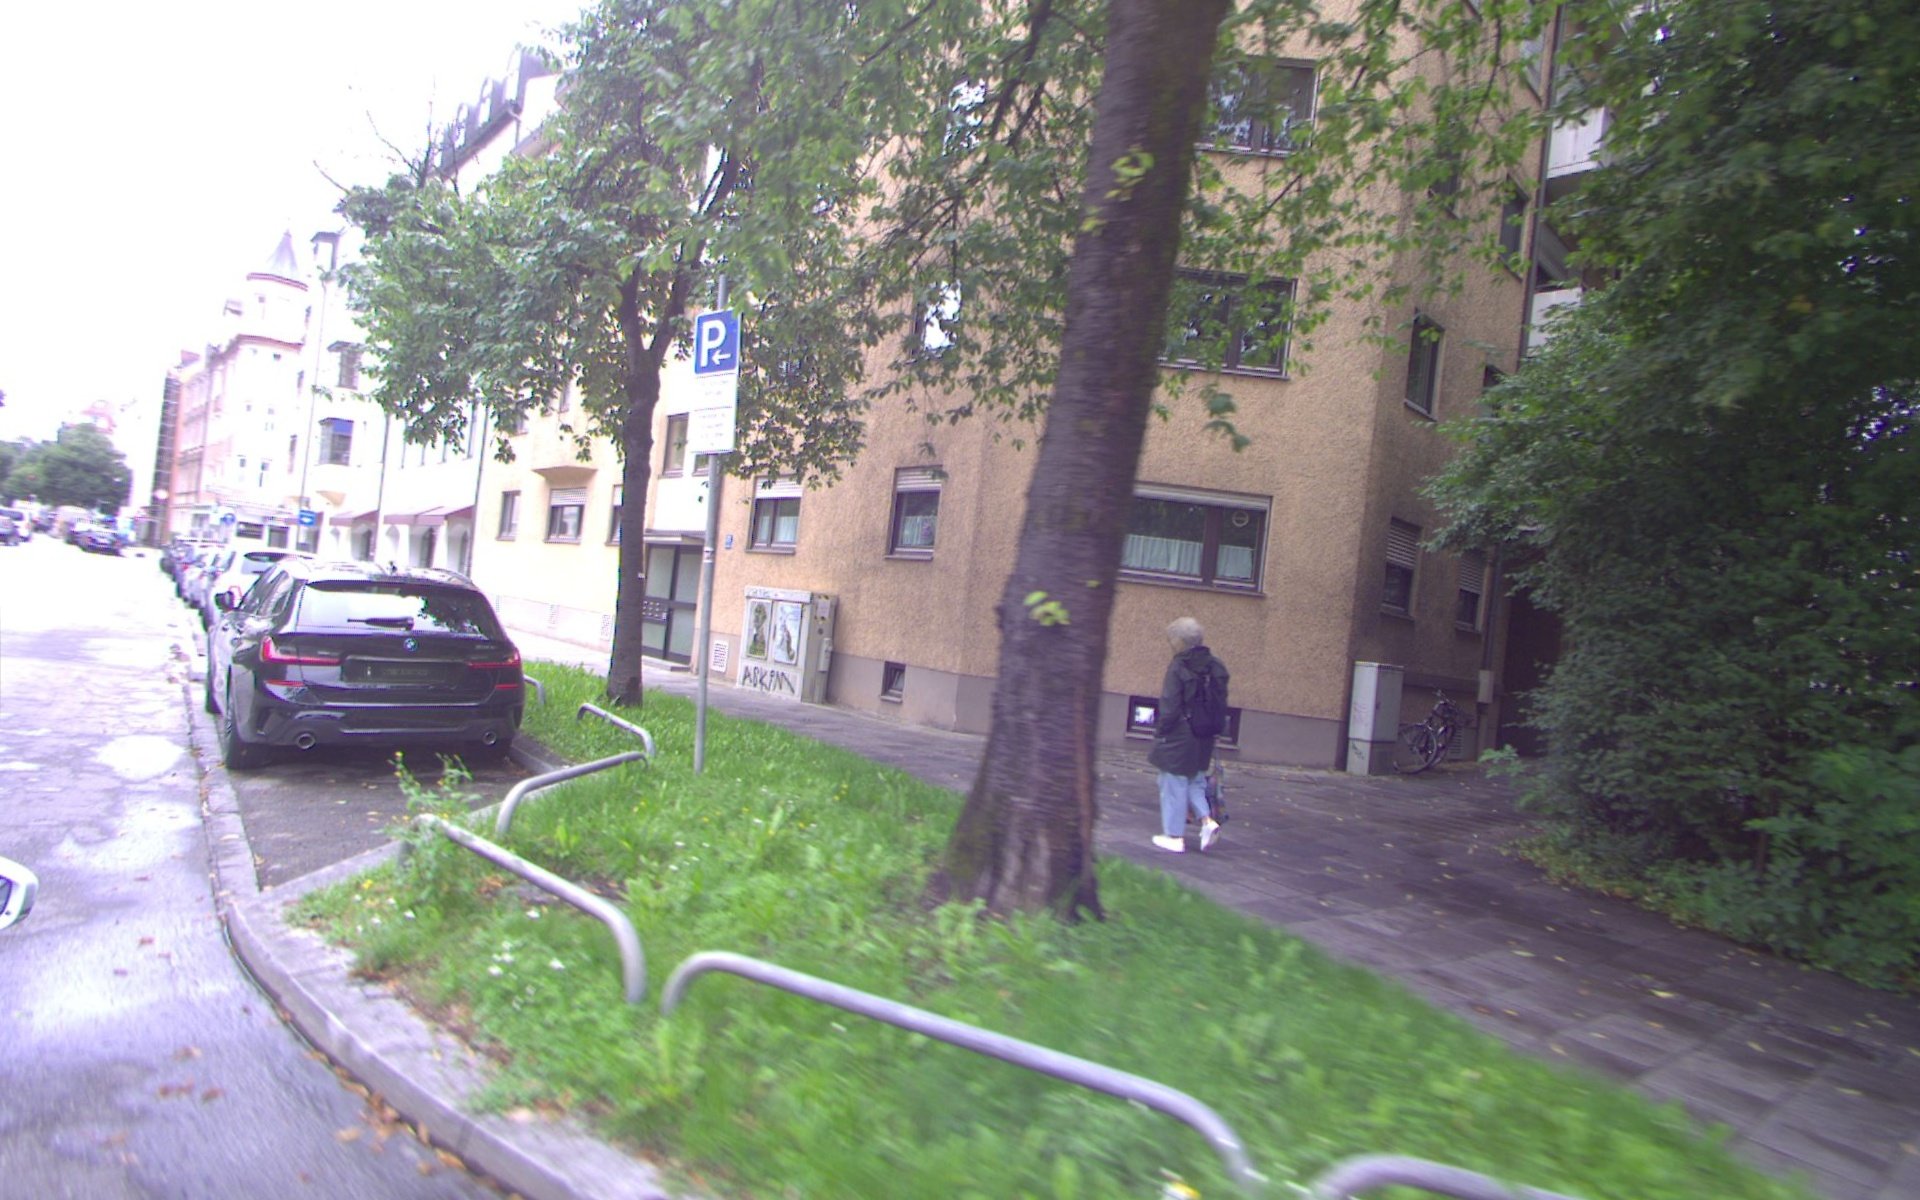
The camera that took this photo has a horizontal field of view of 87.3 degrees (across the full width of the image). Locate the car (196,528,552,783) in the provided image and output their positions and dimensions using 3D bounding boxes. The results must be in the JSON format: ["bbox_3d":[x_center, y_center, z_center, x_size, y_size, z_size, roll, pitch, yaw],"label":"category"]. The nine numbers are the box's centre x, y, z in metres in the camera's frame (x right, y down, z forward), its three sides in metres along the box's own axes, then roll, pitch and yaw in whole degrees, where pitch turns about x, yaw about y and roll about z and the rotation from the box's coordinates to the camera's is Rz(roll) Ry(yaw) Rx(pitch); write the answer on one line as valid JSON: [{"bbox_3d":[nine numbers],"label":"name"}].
[{"bbox_3d":[-4.979,0.280,8.209,1.782,1.516,4.329,4,1,-40],"label":"car"}]

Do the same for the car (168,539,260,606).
[{"bbox_3d":[-20.245,-0.785,27.229,1.748,1.515,4.440,6,-1,-39],"label":"car"}]

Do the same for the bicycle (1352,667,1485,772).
[{"bbox_3d":[6.205,1.600,13.529,2.416,1.232,0.695,7,-1,-44],"label":"bicycle"}]

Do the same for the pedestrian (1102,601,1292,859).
[{"bbox_3d":[1.659,0.877,7.109,0.667,1.643,0.970,7,-2,-38],"label":"pedestrian"}]

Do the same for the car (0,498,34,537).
[{"bbox_3d":[-57.773,-5.083,61.134,1.984,2.100,4.090,7,-1,-43],"label":"car"}]

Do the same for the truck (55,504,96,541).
[{"bbox_3d":[-83.704,-7.340,95.180,2.485,3.008,5.263,8,-2,-44],"label":"truck"}]

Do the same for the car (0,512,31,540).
[{"bbox_3d":[-78.114,-6.099,82.998,1.988,2.038,3.951,7,-1,-44],"label":"car"}]

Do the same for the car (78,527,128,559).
[{"bbox_3d":[-51.270,-3.408,60.150,1.842,1.444,4.131,12,-4,-44],"label":"car"}]

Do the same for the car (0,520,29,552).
[{"bbox_3d":[-49.721,-3.398,52.170,1.984,1.446,4.090,8,-1,-43],"label":"car"}]

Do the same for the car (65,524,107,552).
[{"bbox_3d":[-61.444,-4.377,70.729,1.842,1.444,4.252,12,-4,-44],"label":"car"}]

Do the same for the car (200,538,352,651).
[{"bbox_3d":[-11.025,-0.144,16.110,1.620,1.515,3.780,5,-1,-39],"label":"car"}]

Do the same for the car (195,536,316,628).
[{"bbox_3d":[-13.930,-0.394,19.818,1.620,1.515,3.747,5,-1,-39],"label":"car"}]

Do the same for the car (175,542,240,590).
[{"bbox_3d":[-27.719,-1.279,37.106,1.746,1.515,3.786,5,-1,-36],"label":"car"}]

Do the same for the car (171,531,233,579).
[{"bbox_3d":[-30.924,-1.845,40.976,1.748,1.700,4.656,5,-1,-39],"label":"car"}]

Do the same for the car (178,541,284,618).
[{"bbox_3d":[-17.074,-0.528,23.478,1.682,1.515,4.387,5,-1,-39],"label":"car"}]

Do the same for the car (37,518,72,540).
[{"bbox_3d":[-73.971,-5.807,82.215,1.984,1.446,4.090,8,-1,-43],"label":"car"}]
